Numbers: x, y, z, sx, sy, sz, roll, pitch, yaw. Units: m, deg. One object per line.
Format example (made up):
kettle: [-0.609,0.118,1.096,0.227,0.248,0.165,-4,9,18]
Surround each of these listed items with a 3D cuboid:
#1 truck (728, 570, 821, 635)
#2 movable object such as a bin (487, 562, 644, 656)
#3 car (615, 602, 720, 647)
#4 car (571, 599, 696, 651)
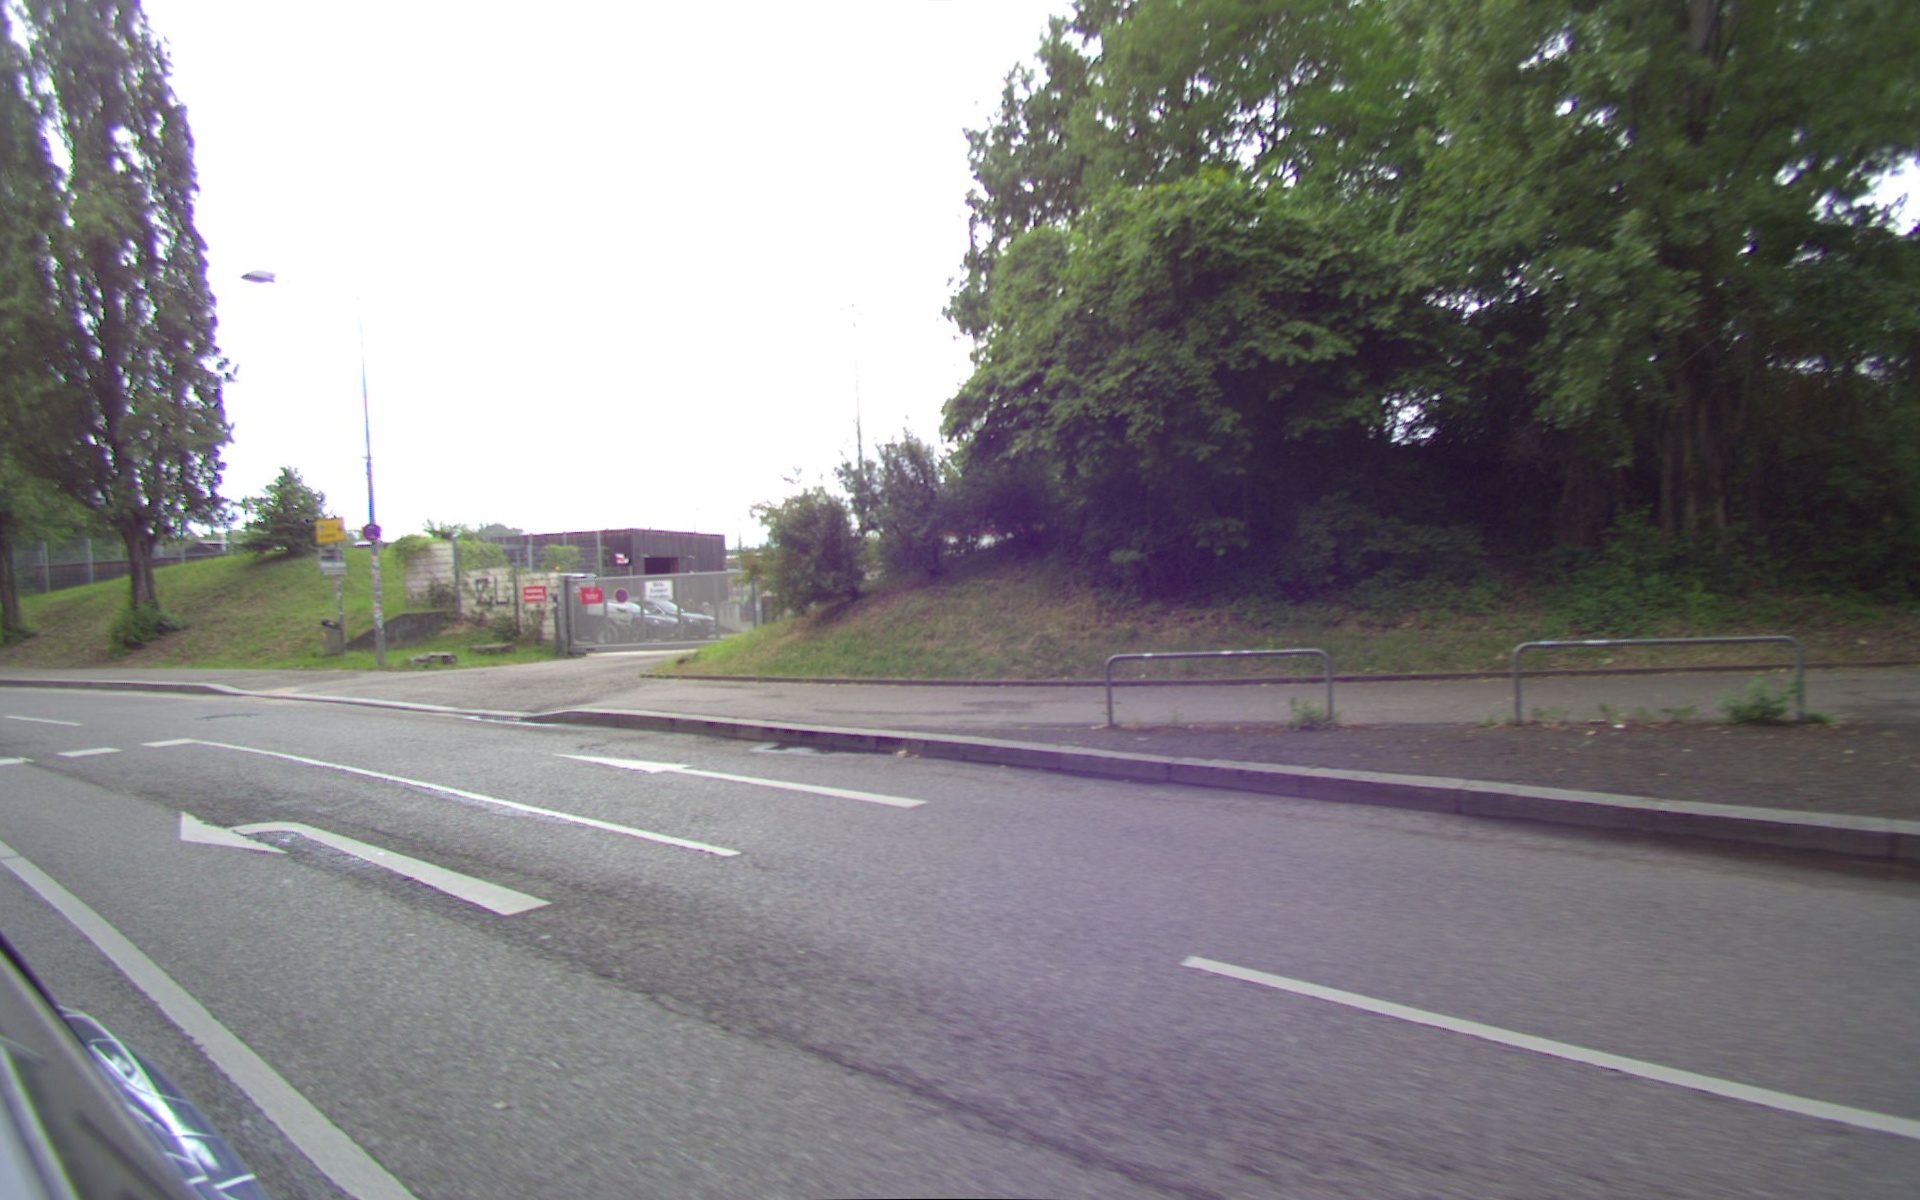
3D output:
truck: [-9.058,0.109,49.590,4.056,3.031,1.818,-1,0,7]
movable object such as a bin: [-12.312,0.272,31.829,4.168,2.743,2.029,-1,0,-4]
car: [-10.641,0.873,37.001,3.421,1.534,1.564,-1,0,-4]
car: [-11.068,0.835,34.541,3.710,1.621,1.858,-1,0,-4]
